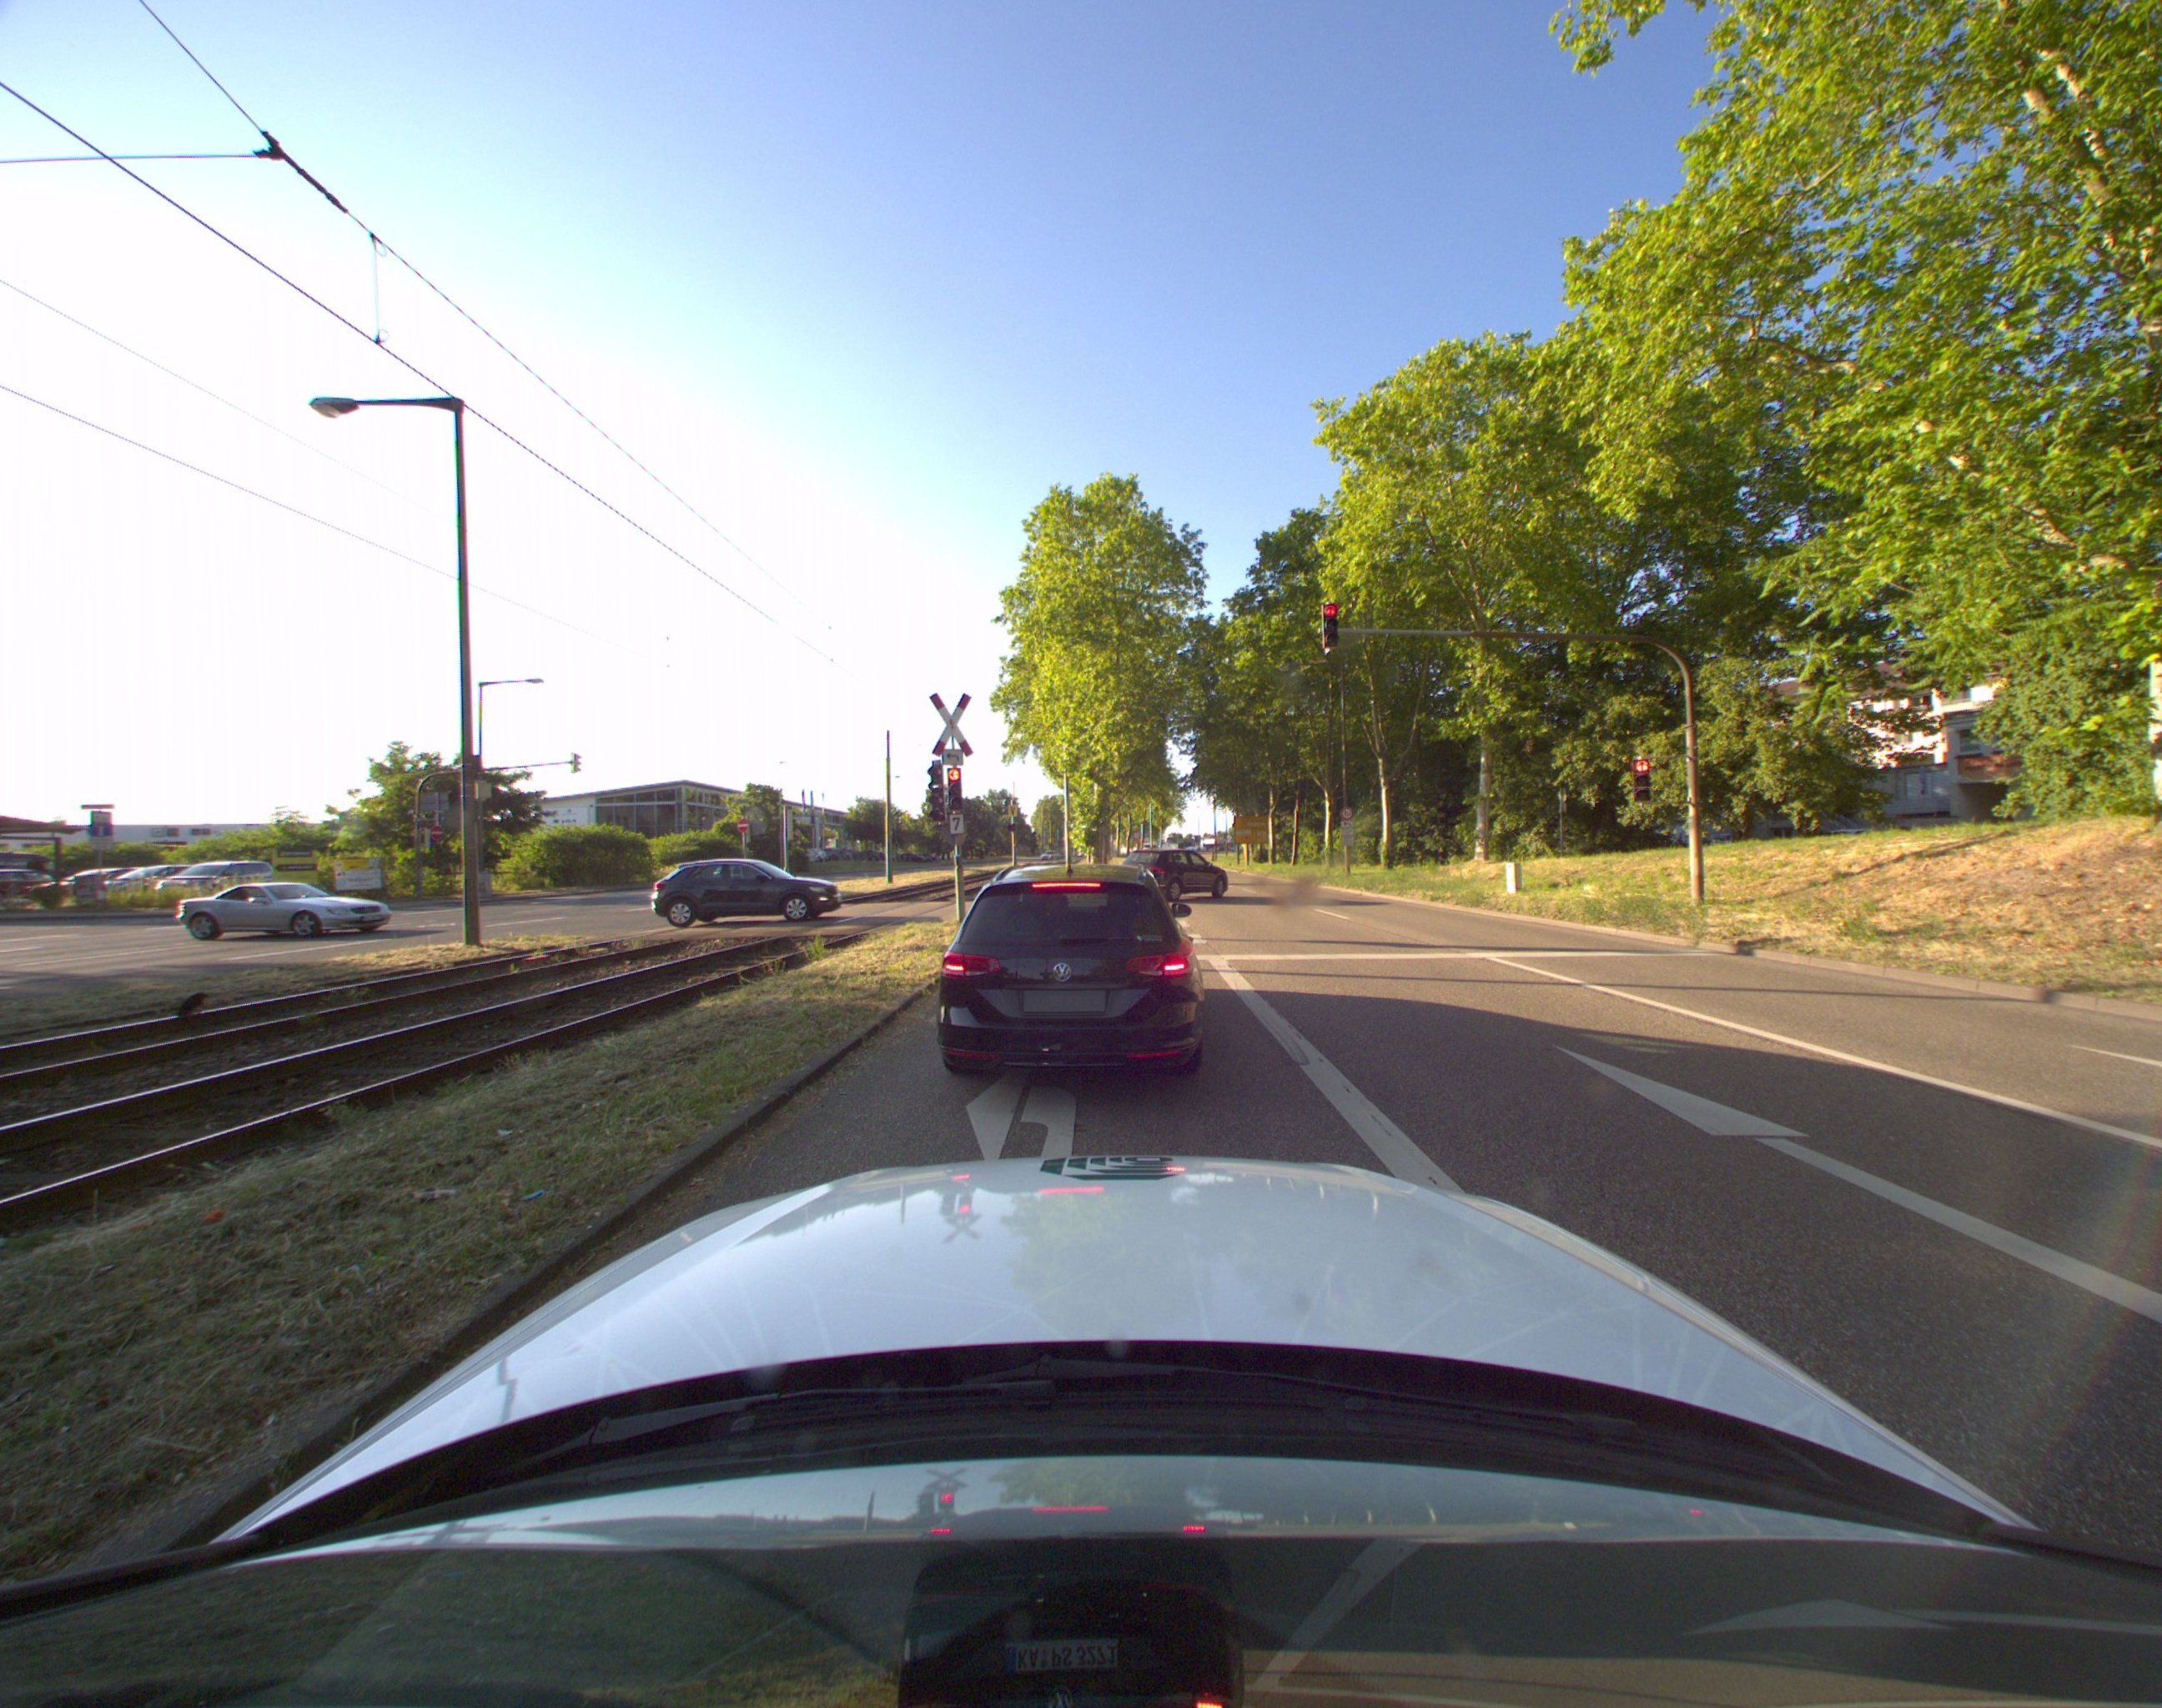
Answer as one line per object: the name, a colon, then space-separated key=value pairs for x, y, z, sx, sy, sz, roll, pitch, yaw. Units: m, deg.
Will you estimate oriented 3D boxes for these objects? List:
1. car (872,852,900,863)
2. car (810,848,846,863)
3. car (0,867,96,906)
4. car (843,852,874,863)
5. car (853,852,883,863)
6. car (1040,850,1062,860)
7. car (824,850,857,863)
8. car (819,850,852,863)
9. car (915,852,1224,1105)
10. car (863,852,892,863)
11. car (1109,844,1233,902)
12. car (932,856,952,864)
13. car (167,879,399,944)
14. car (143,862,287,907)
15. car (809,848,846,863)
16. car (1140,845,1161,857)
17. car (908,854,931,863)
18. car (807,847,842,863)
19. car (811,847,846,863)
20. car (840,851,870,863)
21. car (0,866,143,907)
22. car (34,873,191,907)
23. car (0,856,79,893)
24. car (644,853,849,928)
car: x=-30.126 y=0.586 z=125.947 sx=3.978 sy=1.621 sz=1.742 roll=-1 pitch=0 yaw=-3
car: x=-29.957 y=0.159 z=96.383 sx=3.999 sy=1.704 sz=1.732 roll=-1 pitch=0 yaw=-19
car: x=-47.164 y=1.442 z=36.044 sx=1.970 sy=1.583 sz=4.174 roll=0 pitch=0 yaw=2
car: x=-31.444 y=0.471 z=115.313 sx=3.983 sy=1.556 sz=1.739 roll=-1 pitch=0 yaw=-7
car: x=-31.012 y=0.516 z=118.825 sx=3.980 sy=1.556 sz=1.741 roll=-1 pitch=0 yaw=-5
car: x=-4.680 y=0.203 z=126.692 sx=1.845 sy=1.481 sz=4.114 roll=0 pitch=0 yaw=24
car: x=-31.372 y=0.340 z=106.208 sx=3.999 sy=1.556 sz=1.732 roll=-1 pitch=0 yaw=-19
car: x=-31.157 y=0.296 z=103.417 sx=3.999 sy=1.556 sz=1.732 roll=-1 pitch=0 yaw=-19
car: x=-0.022 y=0.726 z=6.524 sx=1.788 sy=1.464 sz=3.584 roll=0 pitch=0 yaw=1
car: x=-30.614 y=0.542 z=122.746 sx=3.978 sy=1.621 sz=1.742 roll=-1 pitch=0 yaw=-3
car: x=2.985 y=0.558 z=26.140 sx=1.854 sy=1.635 sz=4.398 roll=-2 pitch=0 yaw=39
car: x=-28.820 y=1.182 z=168.920 sx=3.977 sy=1.556 sz=1.742 roll=-1 pitch=0 yaw=-2
car: x=-19.215 y=1.357 z=19.725 sx=3.956 sy=1.294 sz=1.614 roll=-2 pitch=0 yaw=0
car: x=-38.528 y=1.314 z=36.410 sx=1.855 sy=1.821 sz=4.174 roll=0 pitch=0 yaw=2
car: x=-29.267 y=0.142 z=94.114 sx=3.999 sy=1.704 sz=1.732 roll=-1 pitch=0 yaw=-19
car: x=14.174 y=-0.681 z=166.187 sx=2.075 sy=2.461 sz=5.888 roll=0 pitch=0 yaw=29
car: x=-29.112 y=0.864 z=146.839 sx=3.978 sy=1.621 sz=1.742 roll=-1 pitch=0 yaw=-3
car: x=-31.651 y=0.125 z=100.518 sx=3.999 sy=1.816 sz=1.732 roll=-1 pitch=0 yaw=-19
car: x=-30.609 y=0.124 z=98.737 sx=3.999 sy=1.816 sz=1.732 roll=-1 pitch=0 yaw=-19
car: x=-31.235 y=0.433 z=112.606 sx=3.999 sy=1.556 sz=1.732 roll=-1 pitch=0 yaw=-19
car: x=-44.715 y=1.394 z=35.891 sx=1.855 sy=1.583 sz=4.174 roll=0 pitch=0 yaw=2
car: x=-42.475 y=1.554 z=35.888 sx=1.855 sy=1.267 sz=4.174 roll=0 pitch=0 yaw=2
car: x=-60.426 y=1.140 z=45.903 sx=1.855 sy=2.014 sz=4.773 roll=0 pitch=0 yaw=2
car: x=-7.881 y=0.826 z=19.512 sx=4.145 sy=1.561 sz=1.710 roll=-2 pitch=0 yaw=-5
